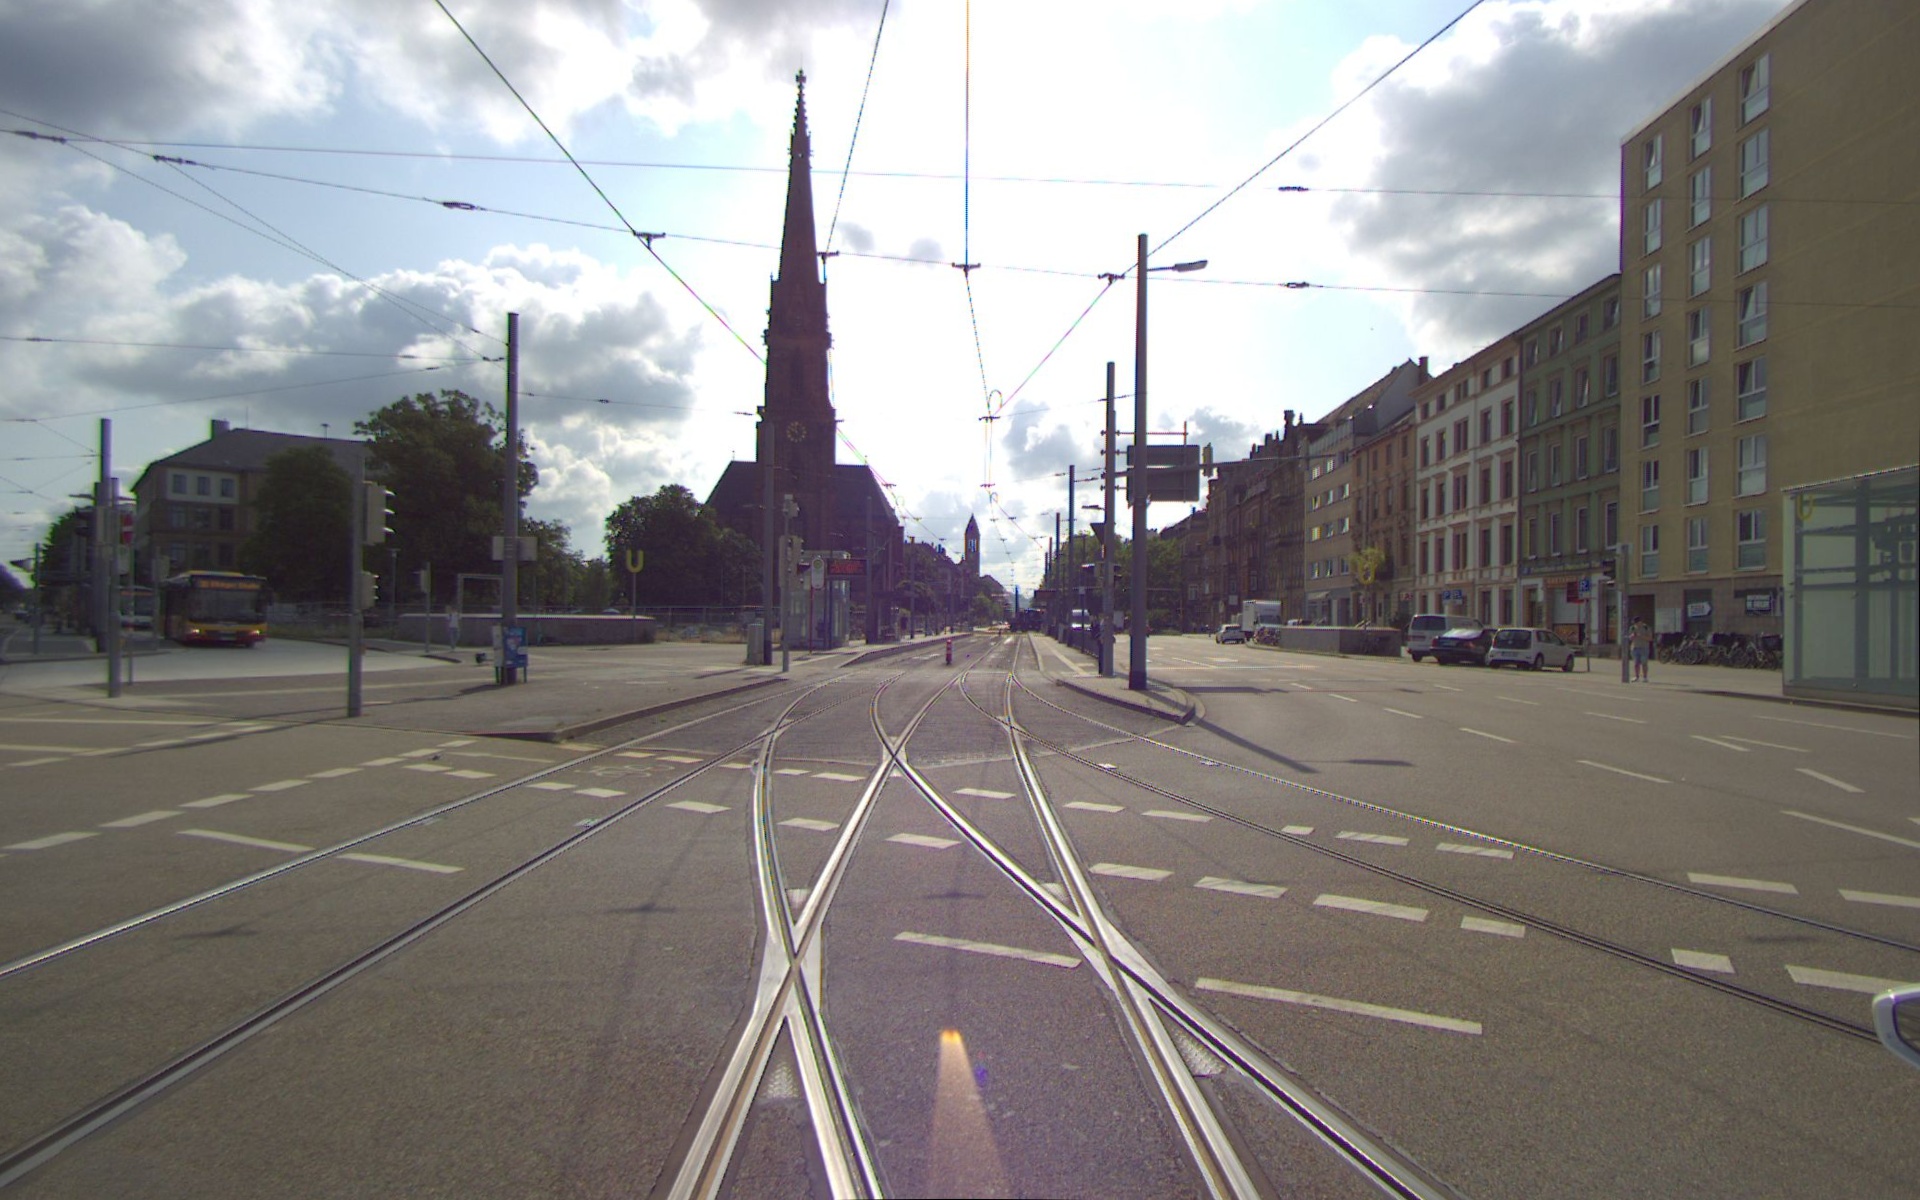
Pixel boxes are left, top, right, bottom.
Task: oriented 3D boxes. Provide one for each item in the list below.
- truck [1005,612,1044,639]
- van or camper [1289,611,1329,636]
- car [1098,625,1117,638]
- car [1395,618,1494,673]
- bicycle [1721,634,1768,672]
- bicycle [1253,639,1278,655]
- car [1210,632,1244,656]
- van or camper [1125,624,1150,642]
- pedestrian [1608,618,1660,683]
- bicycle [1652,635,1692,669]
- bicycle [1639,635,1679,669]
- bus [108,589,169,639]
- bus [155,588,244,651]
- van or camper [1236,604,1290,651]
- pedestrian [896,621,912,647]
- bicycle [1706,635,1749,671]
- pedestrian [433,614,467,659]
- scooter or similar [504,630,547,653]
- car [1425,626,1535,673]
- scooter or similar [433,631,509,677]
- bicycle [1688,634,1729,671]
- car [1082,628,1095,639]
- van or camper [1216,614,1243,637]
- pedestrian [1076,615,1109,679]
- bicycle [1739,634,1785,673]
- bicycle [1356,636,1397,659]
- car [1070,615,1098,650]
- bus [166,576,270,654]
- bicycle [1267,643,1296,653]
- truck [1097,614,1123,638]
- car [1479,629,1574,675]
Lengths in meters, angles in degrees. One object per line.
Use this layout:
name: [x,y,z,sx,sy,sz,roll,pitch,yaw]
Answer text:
truck: [9.151,3.659,143.337,2.438,3.697,7.404,1,-1,-25]
van or camper: [30.980,2.074,89.333,1.960,1.930,5.299,-2,1,3]
car: [18.237,3.852,124.404,1.960,1.528,4.001,0,-1,2]
car: [20.544,1.858,42.509,4.862,2.112,2.054,1,0,-42]
bicycle: [27.470,1.843,35.211,0.538,1.218,1.646,0,2,8]
bicycle: [22.071,3.387,72.604,1.732,1.100,0.372,0,3,-9]
car: [20.562,3.354,77.371,1.760,1.456,4.345,-4,0,5]
van or camper: [20.035,3.729,113.322,1.976,1.939,4.524,2,-2,0]
pedestrian: [18.628,1.394,27.781,0.980,1.783,0.782,2,-2,-21]
bicycle: [28.228,2.053,39.858,0.478,1.218,1.645,0,2,3]
bicycle: [27.738,2.036,39.884,0.478,1.218,1.645,0,2,3]
bus: [-62.416,1.083,76.230,2.943,3.554,12.101,1,-1,-42]
bus: [-34.046,0.879,44.926,2.682,2.621,5.014,1,-1,-43]
van or camper: [24.019,2.087,79.982,2.666,3.376,7.642,0,1,5]
pedestrian: [-4.156,2.561,74.948,0.980,1.824,1.047,2,4,9]
bicycle: [28.167,1.935,36.887,0.478,1.218,1.646,0,2,8]
pedestrian: [-20.329,1.445,40.010,0.923,1.712,1.083,-1,3,-45]
scooter or similar: [-18.959,1.800,43.839,1.651,0.962,0.468,1,-1,-42]
car: [19.908,1.831,38.350,5.019,1.488,1.870,-1,2,-39]
scooter or similar: [-13.787,1.516,28.376,1.311,1.204,1.496,2,-2,6]
bicycle: [27.660,1.925,37.127,0.478,1.218,1.646,0,2,8]
car: [20.013,5.235,156.315,1.740,1.684,4.002,1,-1,4]
van or camper: [30.486,2.889,113.821,1.960,2.507,5.568,0,-1,4]
pedestrian: [3.676,1.295,27.912,0.828,1.696,0.795,-1,1,2]
bicycle: [28.012,1.859,35.101,0.478,1.218,1.646,0,2,8]
bicycle: [20.338,2.305,49.092,1.744,1.017,0.512,2,2,-3]
car: [10.478,2.723,85.148,1.960,2.657,5.581,-1,1,3]
bus: [-29.994,0.610,40.479,2.681,2.871,7.012,1,-1,-42]
bicycle: [21.299,3.172,66.554,0.632,0.594,1.752,-2,2,-36]
truck: [21.243,3.686,142.567,3.116,3.329,7.301,1,-1,4]
car: [20.079,1.809,35.580,3.480,1.460,1.701,1,1,-38]
